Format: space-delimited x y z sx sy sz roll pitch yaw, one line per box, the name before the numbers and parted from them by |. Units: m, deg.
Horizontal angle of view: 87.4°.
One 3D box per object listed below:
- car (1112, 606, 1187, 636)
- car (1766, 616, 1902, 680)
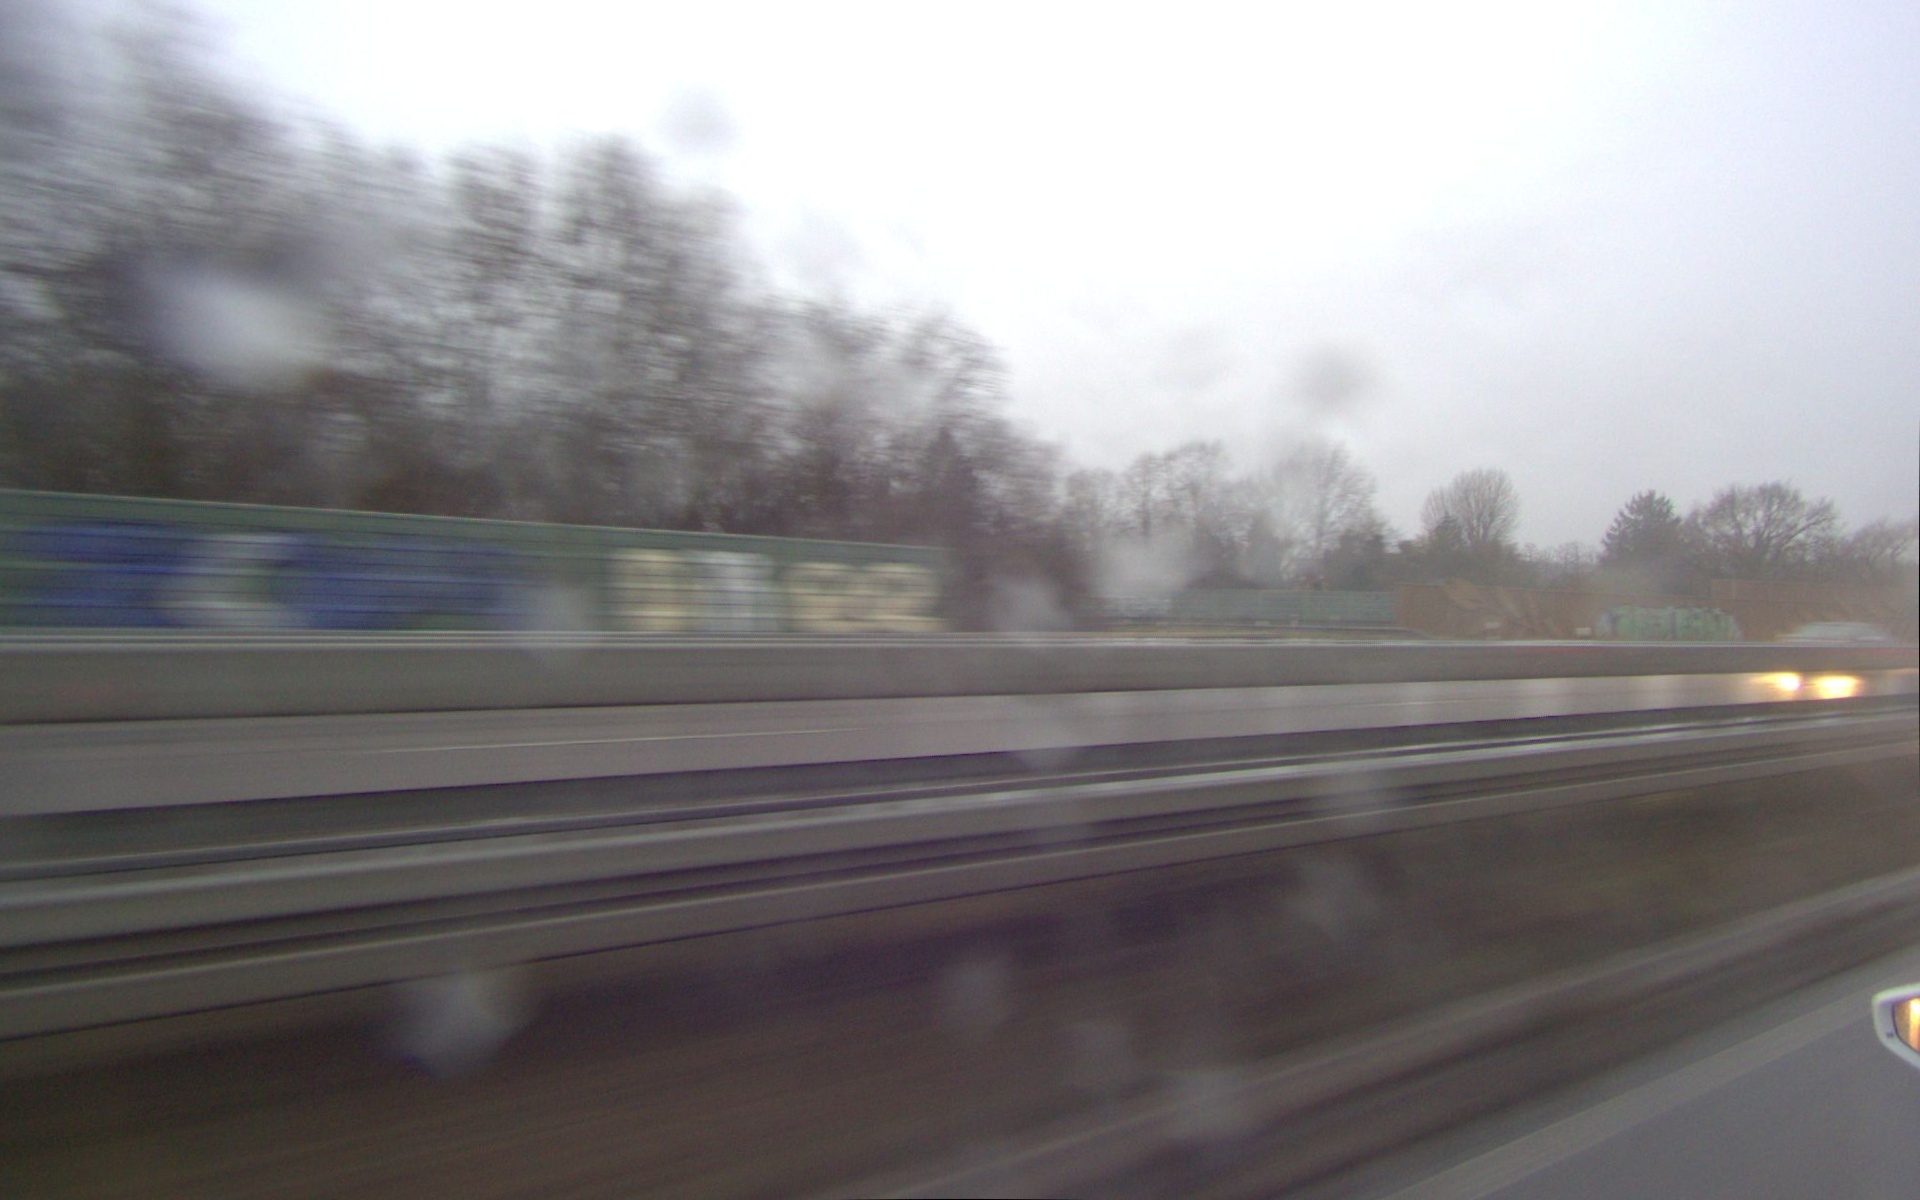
car | 10.561 1.163 56.224 1.872 1.539 3.963 1 0 -33
car | 24.609 1.335 28.261 4.132 1.629 1.718 2 0 -31
